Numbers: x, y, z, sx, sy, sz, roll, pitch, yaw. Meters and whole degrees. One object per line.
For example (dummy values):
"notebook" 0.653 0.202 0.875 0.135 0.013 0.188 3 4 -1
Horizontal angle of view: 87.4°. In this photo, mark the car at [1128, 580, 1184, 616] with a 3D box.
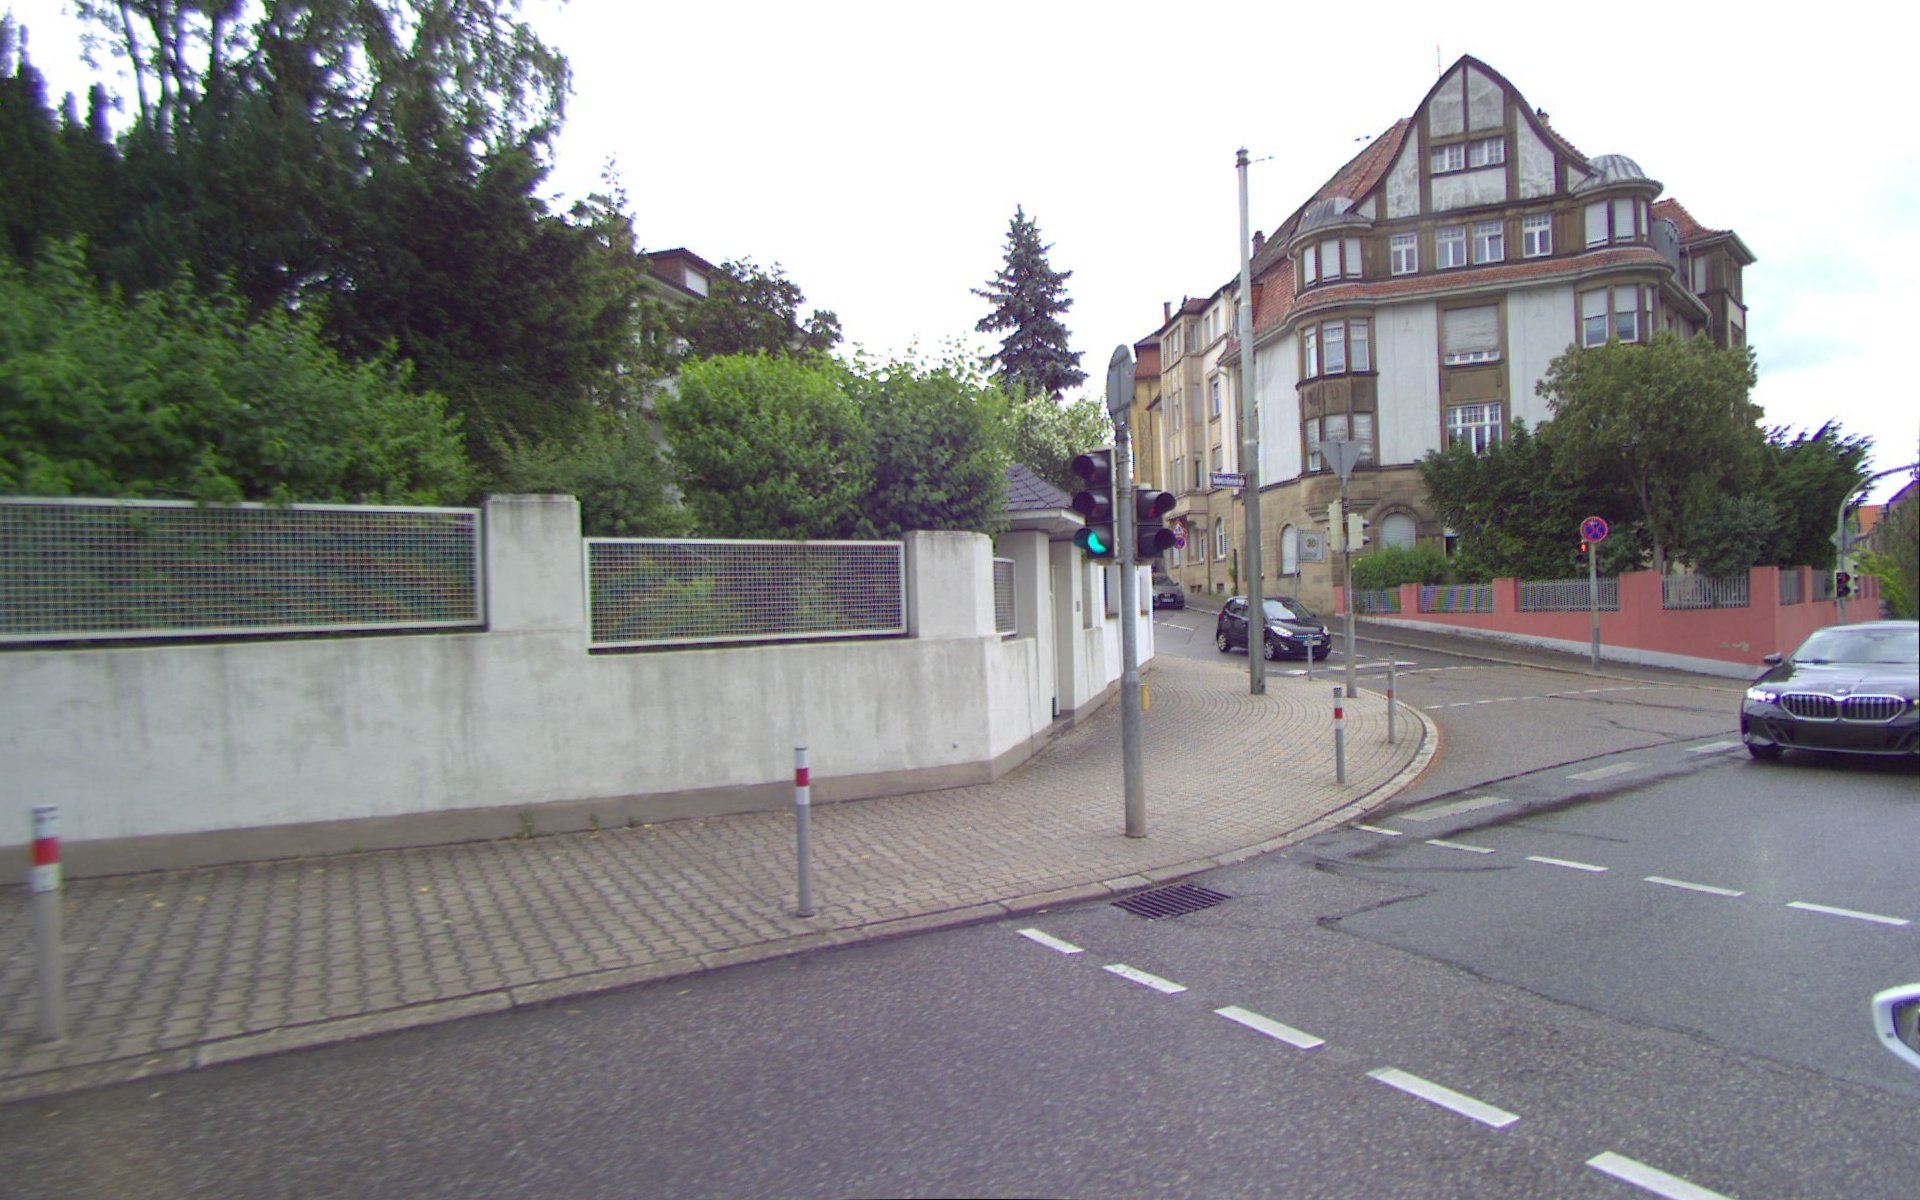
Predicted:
"car" 8.662 -0.113 44.682 1.674 1.473 3.516 -1 2 -3

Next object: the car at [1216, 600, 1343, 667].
"car" 8.150 0.799 25.880 1.642 1.458 3.357 -2 2 -13

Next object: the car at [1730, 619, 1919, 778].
"car" 10.821 0.986 11.618 5.321 1.505 1.838 1 -2 -39

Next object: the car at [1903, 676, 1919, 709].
"car" 49.429 4.749 51.282 1.796 1.633 3.977 0 -3 44
